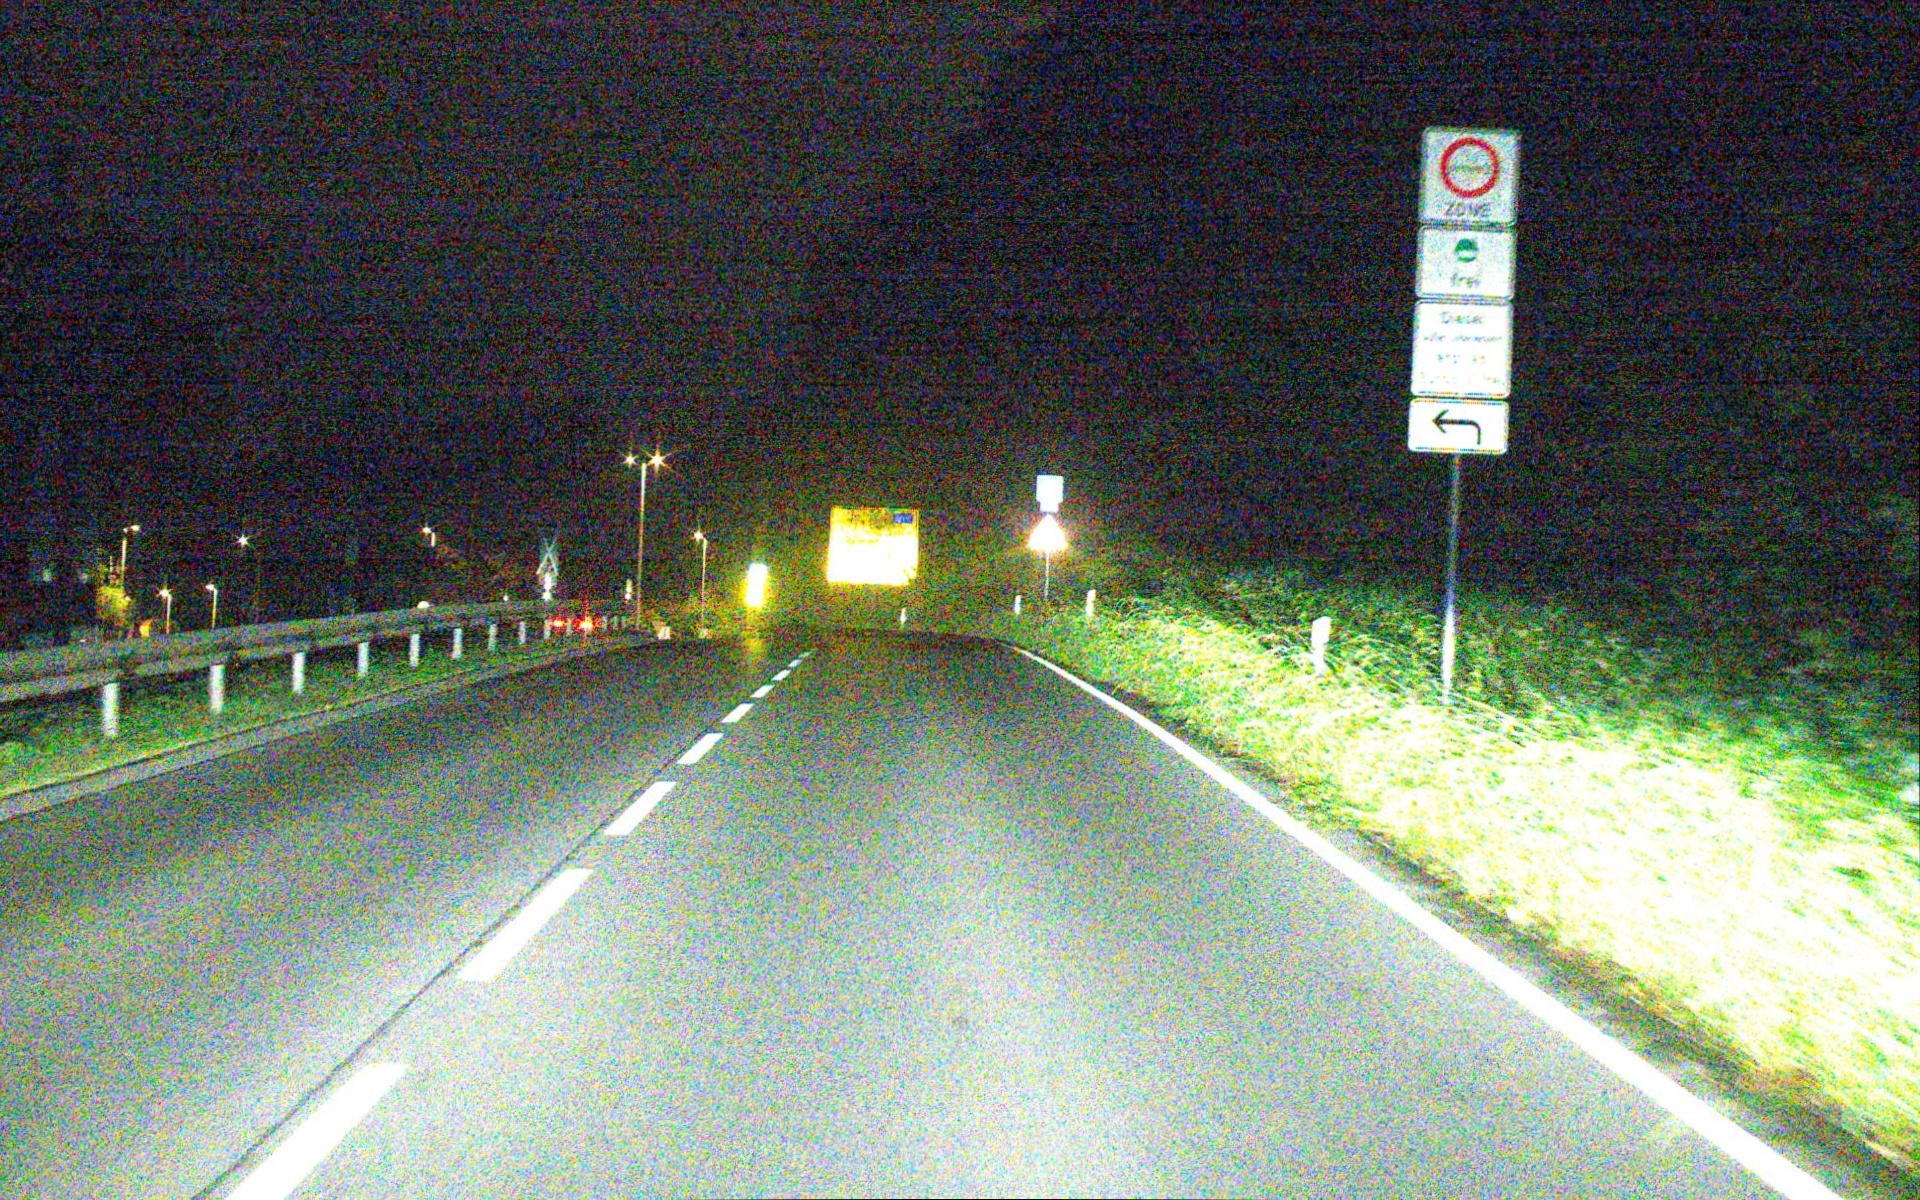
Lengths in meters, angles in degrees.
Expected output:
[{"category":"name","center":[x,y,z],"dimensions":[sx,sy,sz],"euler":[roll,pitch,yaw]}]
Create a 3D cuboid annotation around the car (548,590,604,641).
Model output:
[{"category":"car","center":[-16.595,0.690,148.506],"dimensions":[1.993,2.007,4.001],"euler":[4,-2,-10]}]
